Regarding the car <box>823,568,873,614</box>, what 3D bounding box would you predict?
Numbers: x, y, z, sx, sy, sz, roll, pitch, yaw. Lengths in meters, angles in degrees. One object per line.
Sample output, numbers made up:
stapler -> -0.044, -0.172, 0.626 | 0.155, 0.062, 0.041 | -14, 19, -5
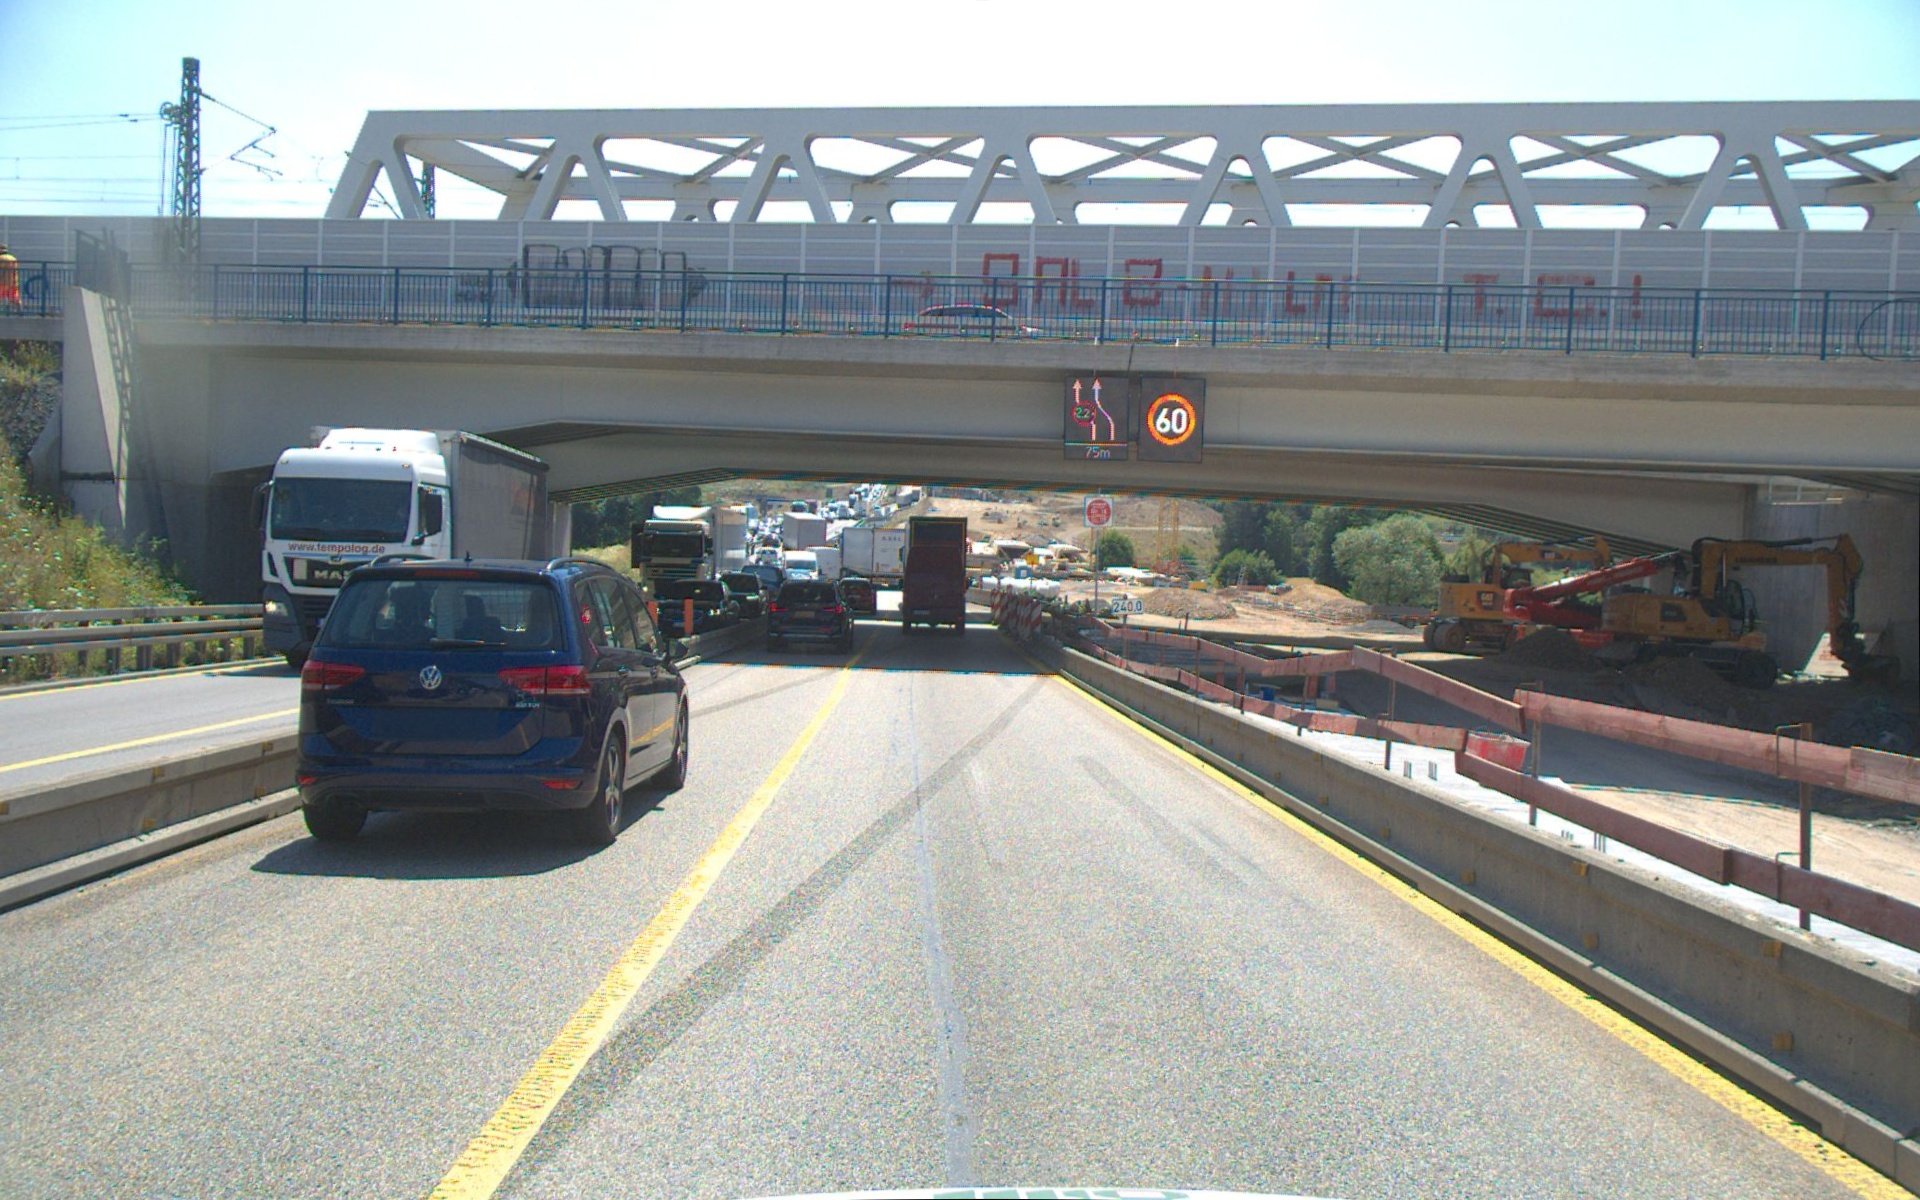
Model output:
car -> -4.607, -0.364, 68.302 | 1.796, 1.808, 4.388 | 1, 0, -1

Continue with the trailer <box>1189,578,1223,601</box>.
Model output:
trailer -> 17.828, -0.759, 119.867 | 1.592, 1.511, 3.823 | 2, 1, -5

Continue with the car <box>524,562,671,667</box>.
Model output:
car -> -6.704, 0.224, 31.045 | 1.818, 1.787, 4.607 | 1, 1, -2

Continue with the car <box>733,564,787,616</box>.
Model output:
car -> -7.897, -0.409, 65.597 | 1.764, 1.966, 4.965 | 1, 1, -3

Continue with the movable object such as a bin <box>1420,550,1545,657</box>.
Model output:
movable object such as a bin -> 18.860, 0.132, 59.899 | 3.799, 3.604, 2.905 | 3, -1, 10

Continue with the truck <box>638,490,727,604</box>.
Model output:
truck -> -10.844, -1.988, 65.068 | 2.605, 4.243, 5.185 | 1, -1, -1

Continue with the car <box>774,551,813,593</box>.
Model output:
car -> -9.769, -1.627, 96.709 | 1.944, 2.370, 6.046 | 1, 1, -9

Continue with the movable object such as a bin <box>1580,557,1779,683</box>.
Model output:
movable object such as a bin -> 21.044, 0.578, 48.604 | 4.459, 3.344, 2.991 | 3, -1, 2

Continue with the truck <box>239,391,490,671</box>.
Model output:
truck -> -9.727, -1.044, 27.475 | 2.742, 4.223, 4.071 | 1, -1, -3

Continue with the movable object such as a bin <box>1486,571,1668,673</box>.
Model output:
movable object such as a bin -> 20.750, 0.726, 55.861 | 5.131, 3.109, 2.497 | 3, -1, 2

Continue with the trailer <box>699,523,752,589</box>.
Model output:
trailer -> -16.225, -3.047, 113.522 | 2.825, 4.109, 14.324 | 3, 1, -10

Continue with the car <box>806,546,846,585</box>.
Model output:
car -> -9.291, -2.383, 114.140 | 2.224, 2.395, 5.149 | 1, 3, -10

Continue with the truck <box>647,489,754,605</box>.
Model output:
truck -> -11.013, -2.056, 71.553 | 2.713, 4.389, 13.485 | 1, 0, -1

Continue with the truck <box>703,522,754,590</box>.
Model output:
truck -> -14.885, -2.823, 106.226 | 2.822, 4.121, 4.873 | 3, 1, -11

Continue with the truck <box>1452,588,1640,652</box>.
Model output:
truck -> 22.967, 0.764, 65.053 | 6.386, 2.109, 2.666 | 3, 1, 2

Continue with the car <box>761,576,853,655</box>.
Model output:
car -> -3.447, 0.330, 37.971 | 1.797, 1.664, 4.388 | 1, 0, -2

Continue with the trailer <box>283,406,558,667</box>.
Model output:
trailer -> -9.894, -1.017, 31.410 | 2.756, 4.247, 8.239 | 1, 0, -3

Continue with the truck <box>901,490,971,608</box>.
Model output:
truck -> -1.118, -2.387, 74.876 | 2.885, 5.030, 6.742 | 2, 3, -1

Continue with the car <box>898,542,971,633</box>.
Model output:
car -> -0.787, -0.340, 51.852 | 2.106, 2.656, 5.437 | 1, 0, -1

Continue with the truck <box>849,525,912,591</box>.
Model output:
truck -> -5.397, -2.877, 110.822 | 3.126, 4.058, 6.723 | 1, 3, -12

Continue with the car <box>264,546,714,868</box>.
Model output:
car -> -2.820, 0.561, 10.955 | 1.698, 1.664, 4.389 | 1, 0, 0

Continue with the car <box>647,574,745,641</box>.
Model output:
car -> -6.693, 0.196, 42.382 | 1.818, 1.554, 4.771 | 1, 0, -2

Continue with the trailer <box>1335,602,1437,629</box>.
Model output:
trailer -> 21.542, 0.798, 83.711 | 4.618, 1.241, 2.055 | 1, -1, -2

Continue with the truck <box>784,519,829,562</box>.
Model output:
truck -> -13.774, -5.272, 147.933 | 3.161, 3.419, 8.917 | 1, 0, -11

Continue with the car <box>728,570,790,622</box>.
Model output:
car -> -6.951, -0.179, 57.619 | 1.687, 1.637, 4.522 | 3, 1, -2
